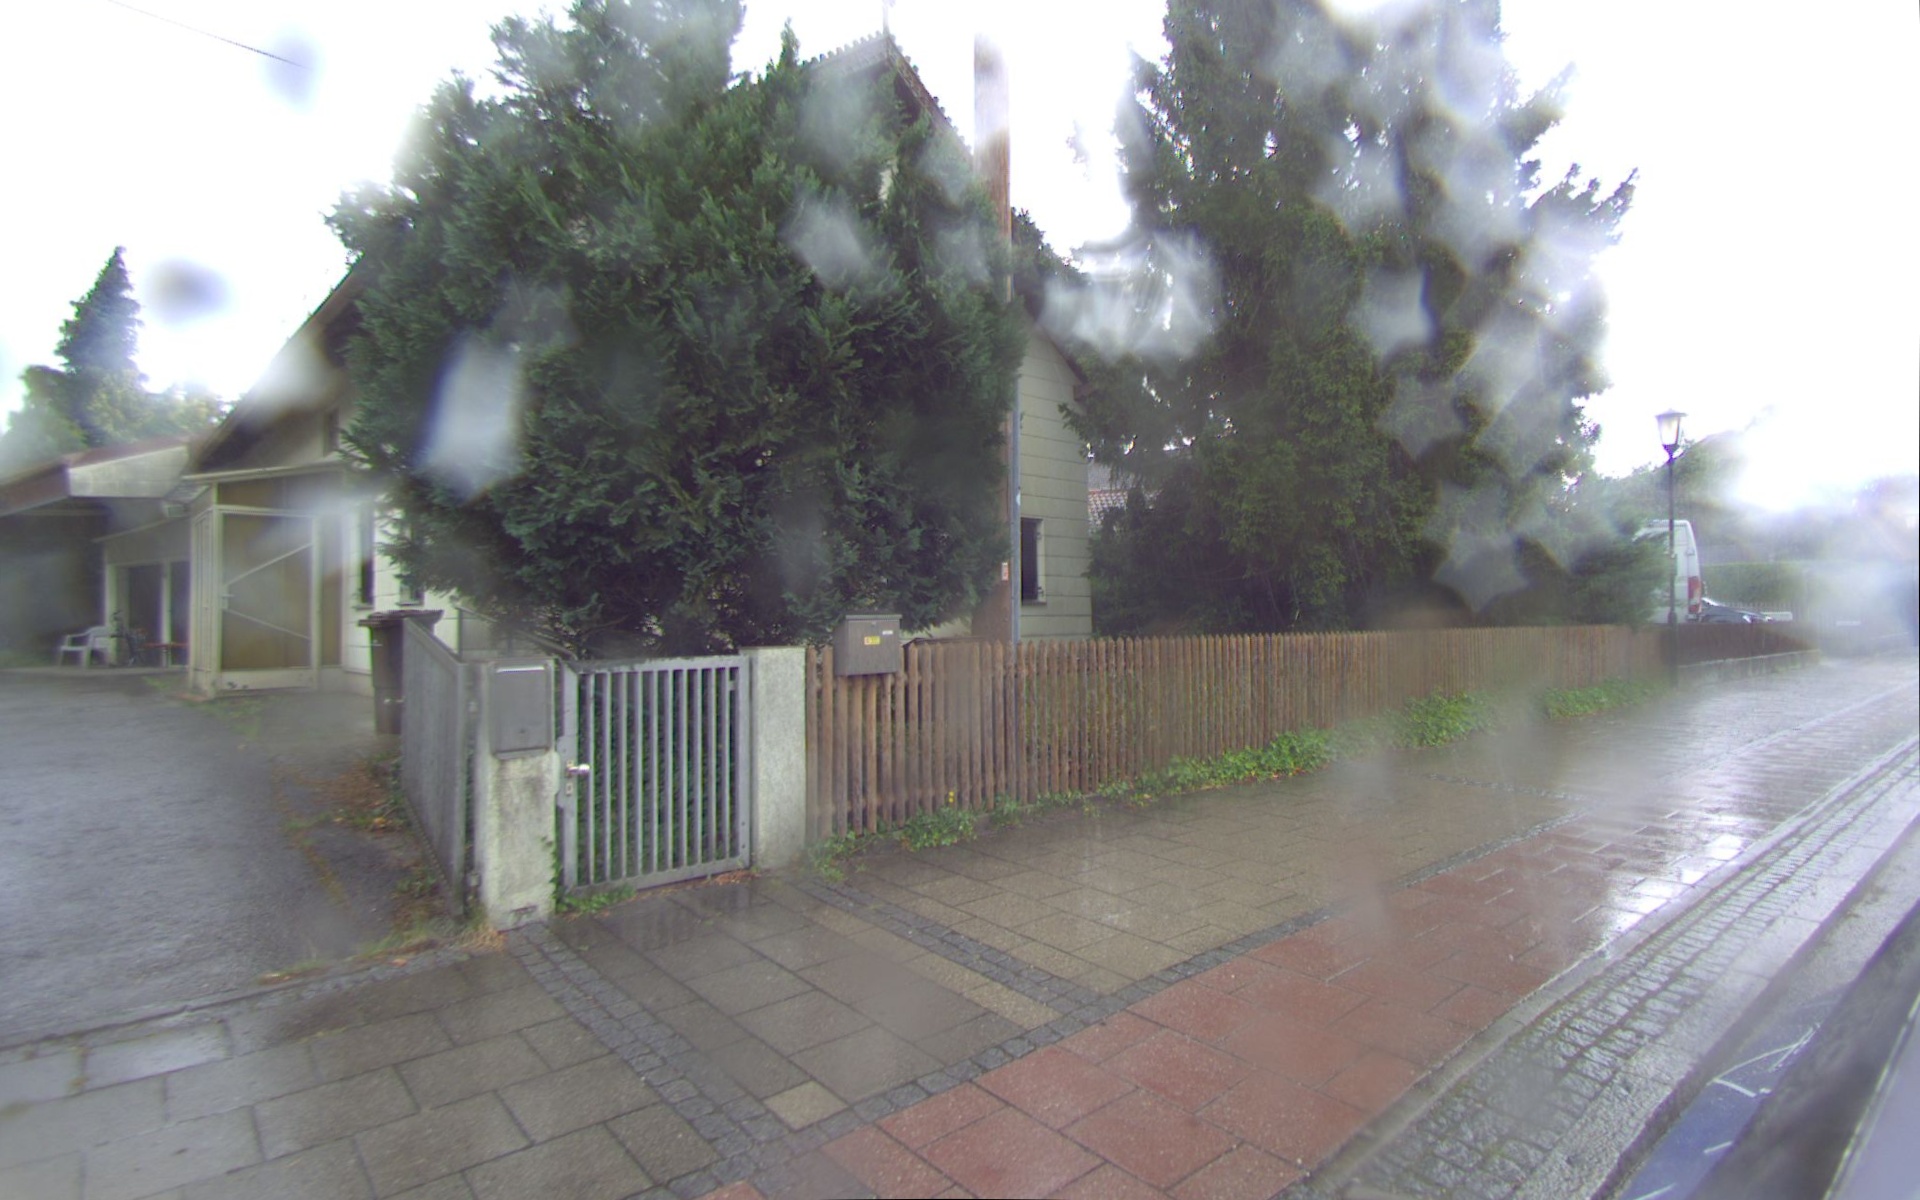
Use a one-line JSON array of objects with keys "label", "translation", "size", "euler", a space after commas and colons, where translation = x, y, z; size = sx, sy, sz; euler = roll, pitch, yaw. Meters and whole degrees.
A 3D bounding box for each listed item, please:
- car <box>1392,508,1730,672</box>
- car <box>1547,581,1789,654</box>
[{"label": "car", "translation": [11.421, -0.269, 19.501], "size": [5.299, 2.761, 1.971], "euler": [3, 2, 41]}, {"label": "car", "translation": [16.473, 0.331, 23.691], "size": [4.428, 1.438, 1.802], "euler": [3, 3, 42]}]
